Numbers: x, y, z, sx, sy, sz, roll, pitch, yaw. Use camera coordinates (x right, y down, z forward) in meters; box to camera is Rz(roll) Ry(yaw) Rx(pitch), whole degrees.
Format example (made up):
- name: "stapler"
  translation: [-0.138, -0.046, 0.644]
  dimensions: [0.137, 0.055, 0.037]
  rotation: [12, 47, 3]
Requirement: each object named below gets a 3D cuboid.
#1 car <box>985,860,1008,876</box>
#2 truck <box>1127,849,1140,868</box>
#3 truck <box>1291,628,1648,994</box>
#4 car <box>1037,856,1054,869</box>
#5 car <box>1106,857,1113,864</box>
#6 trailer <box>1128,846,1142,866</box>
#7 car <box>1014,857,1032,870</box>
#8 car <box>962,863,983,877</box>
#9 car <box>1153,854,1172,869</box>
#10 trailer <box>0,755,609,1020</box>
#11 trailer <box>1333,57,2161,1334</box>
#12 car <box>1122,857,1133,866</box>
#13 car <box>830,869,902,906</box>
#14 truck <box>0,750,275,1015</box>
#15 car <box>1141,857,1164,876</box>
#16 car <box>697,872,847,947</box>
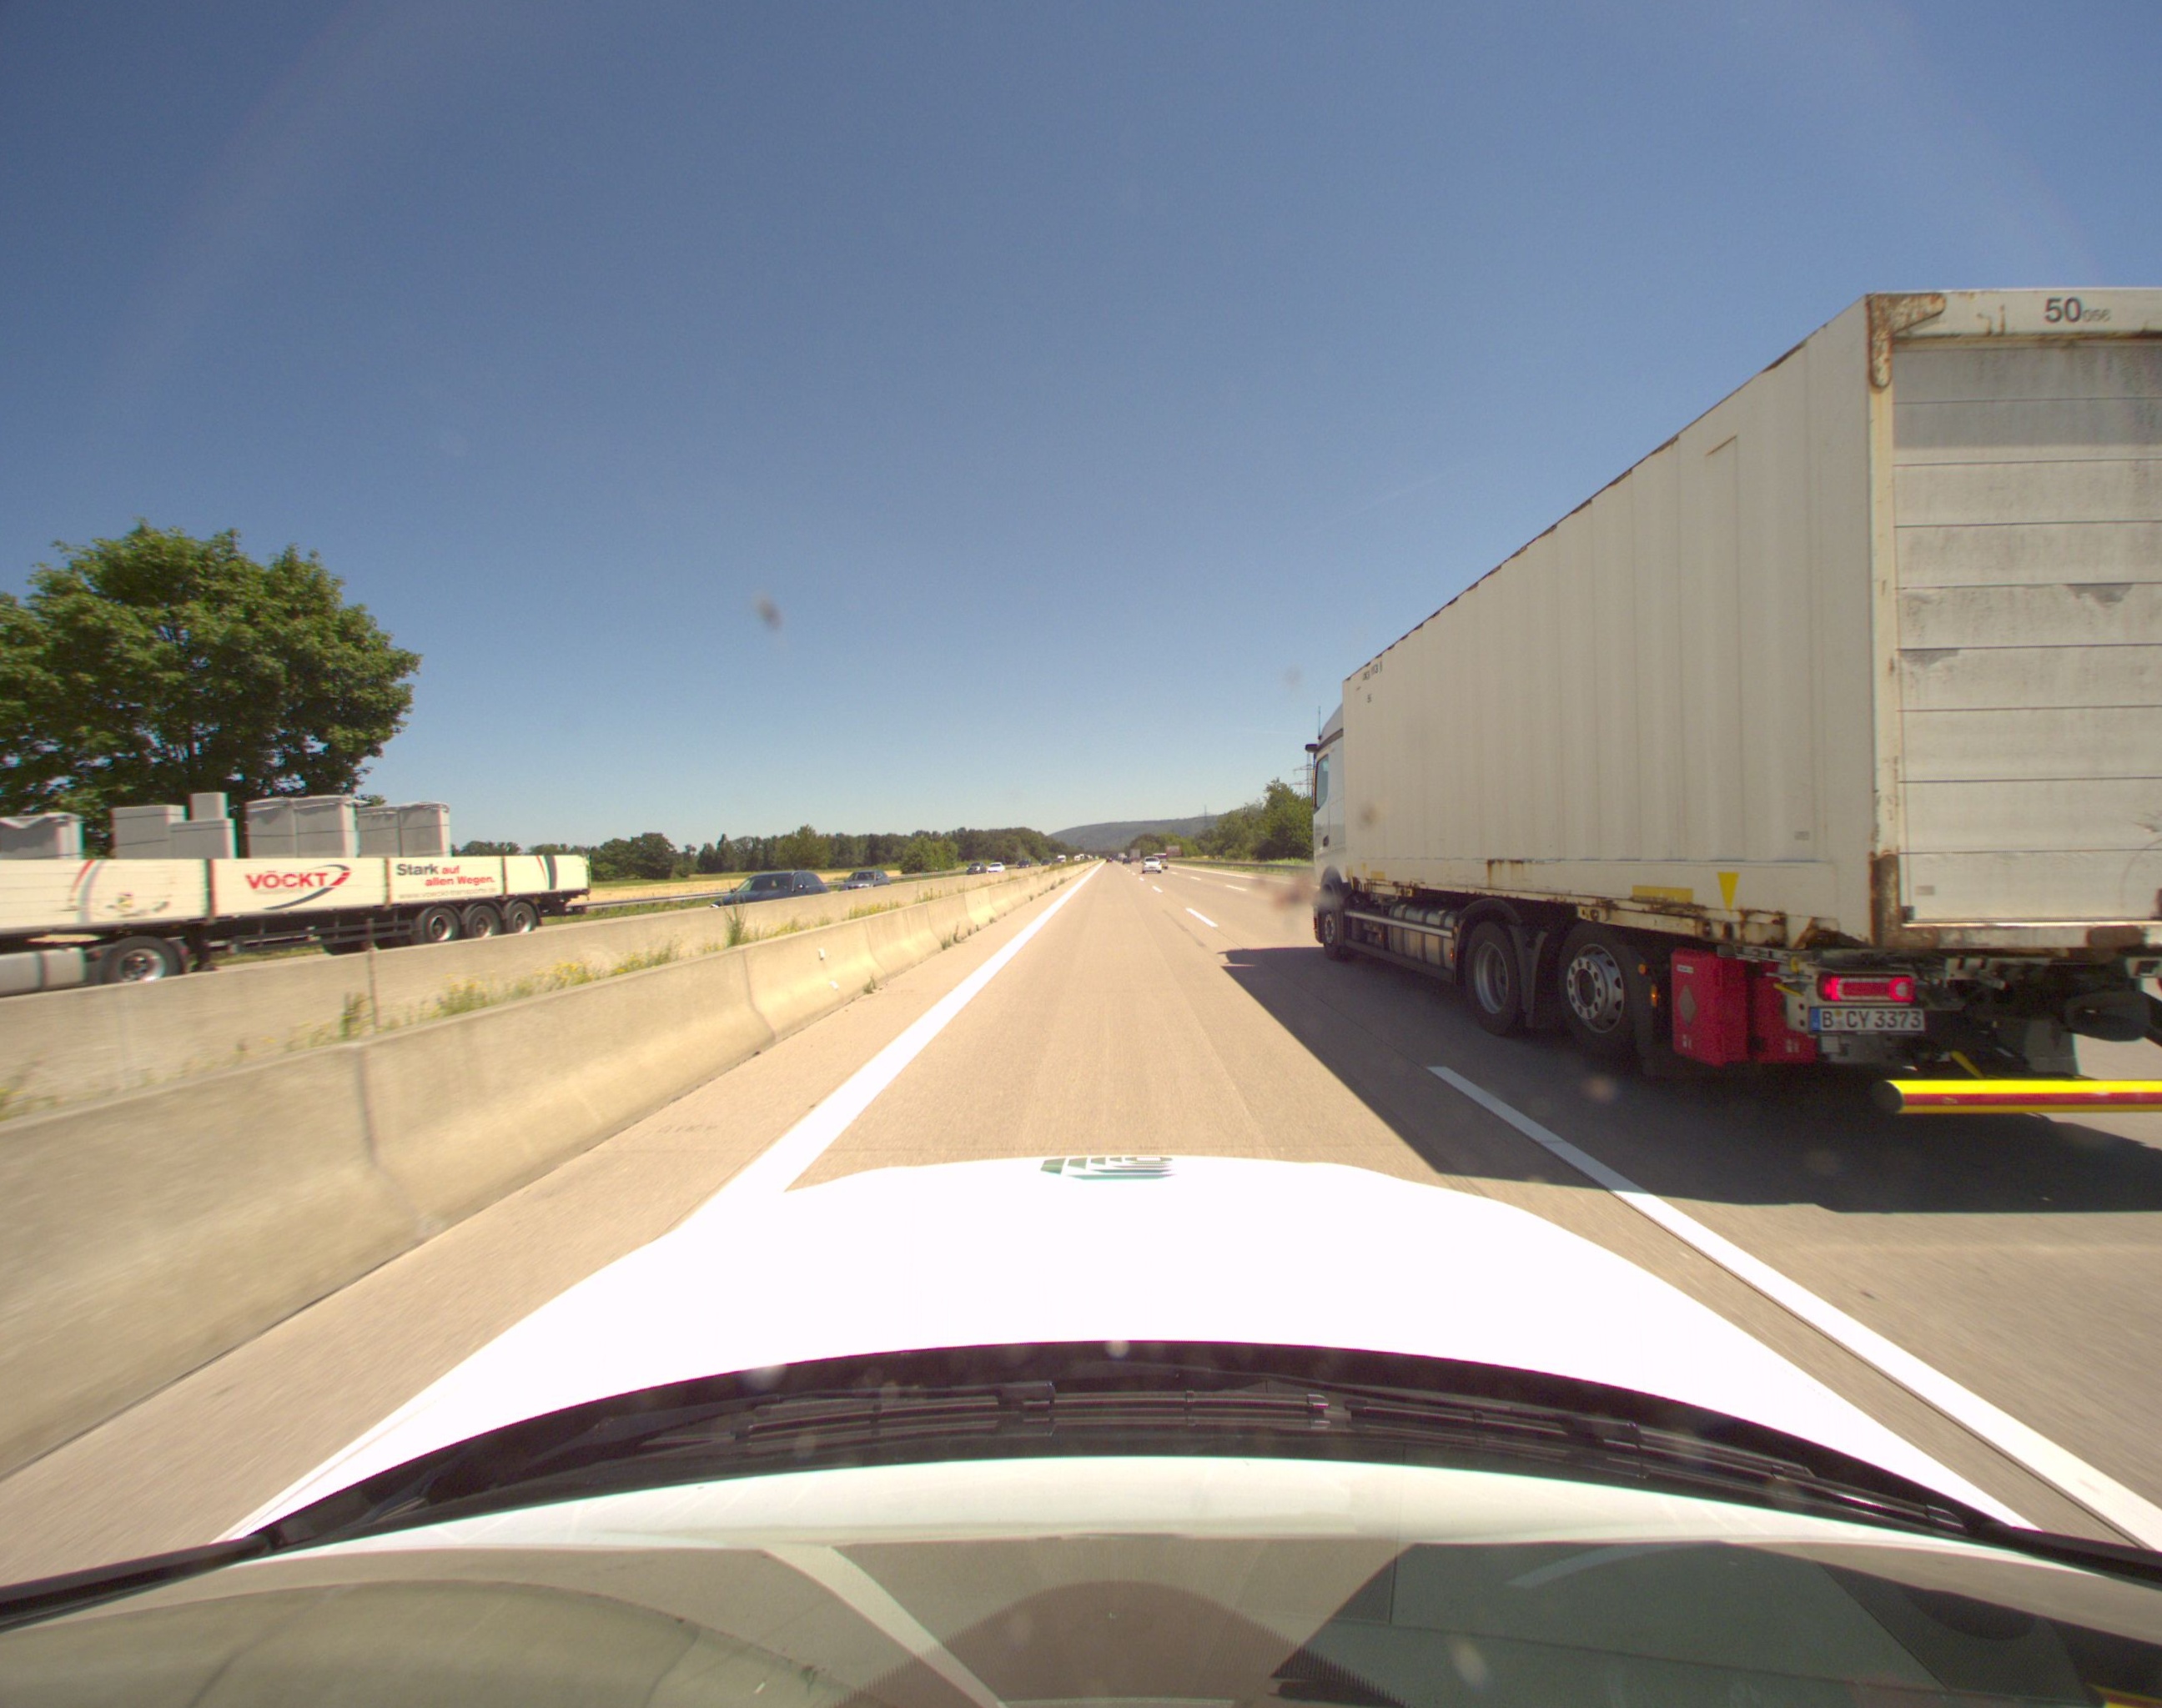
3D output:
- name: "car"
  translation: [-9.536, 1.591, 92.203]
  dimensions: [1.987, 1.717, 4.612]
  rotation: [0, -2, 0]
- name: "truck"
  translation: [16.491, 1.426, 255.472]
  dimensions: [3.708, 5.811, 7.053]
  rotation: [0, 0, 0]
- name: "truck"
  translation: [4.769, -0.450, 11.160]
  dimensions: [2.572, 3.877, 4.985]
  rotation: [0, 0, 1]
- name: "car"
  translation: [-4.997, 1.200, 115.740]
  dimensions: [1.985, 1.717, 5.034]
  rotation: [0, 0, 3]
- name: "car"
  translation: [7.999, 1.877, 232.340]
  dimensions: [1.922, 1.794, 4.001]
  rotation: [0, 0, 1]
- name: "trailer"
  translation: [16.382, 0.627, 248.843]
  dimensions: [3.708, 5.811, 12.161]
  rotation: [0, 0, 1]
- name: "car"
  translation: [-8.544, 1.410, 121.017]
  dimensions: [1.985, 1.878, 5.188]
  rotation: [0, 0, 3]
- name: "car"
  translation: [-13.683, 1.989, 103.199]
  dimensions: [1.987, 1.717, 4.301]
  rotation: [0, 0, 1]
- name: "car"
  translation: [9.891, 0.908, 98.498]
  dimensions: [1.986, 1.849, 4.001]
  rotation: [0, 0, 1]
- name: "trailer"
  translation: [-16.164, 0.504, 18.197]
  dimensions: [2.792, 3.683, 13.756]
  rotation: [0, 0, 2]
- name: "trailer"
  translation: [4.645, -0.469, 5.967]
  dimensions: [2.571, 3.877, 10.375]
  rotation: [0, 0, 1]
- name: "car"
  translation: [9.701, 1.631, 170.733]
  dimensions: [1.987, 1.849, 4.000]
  rotation: [1, 0, 1]
- name: "car"
  translation: [-10.903, 1.649, 41.661]
  dimensions: [1.955, 1.717, 5.132]
  rotation: [0, 0, 4]
- name: "truck"
  translation: [-16.436, 0.409, 11.464]
  dimensions: [2.792, 3.687, 7.239]
  rotation: [0, 0, 2]
- name: "car"
  translation: [6.626, 1.139, 75.656]
  dimensions: [1.813, 1.662, 4.001]
  rotation: [-1, 0, 1]
- name: "car"
  translation: [-8.168, 1.392, 22.157]
  dimensions: [1.986, 1.717, 5.027]
  rotation: [0, 0, 2]
